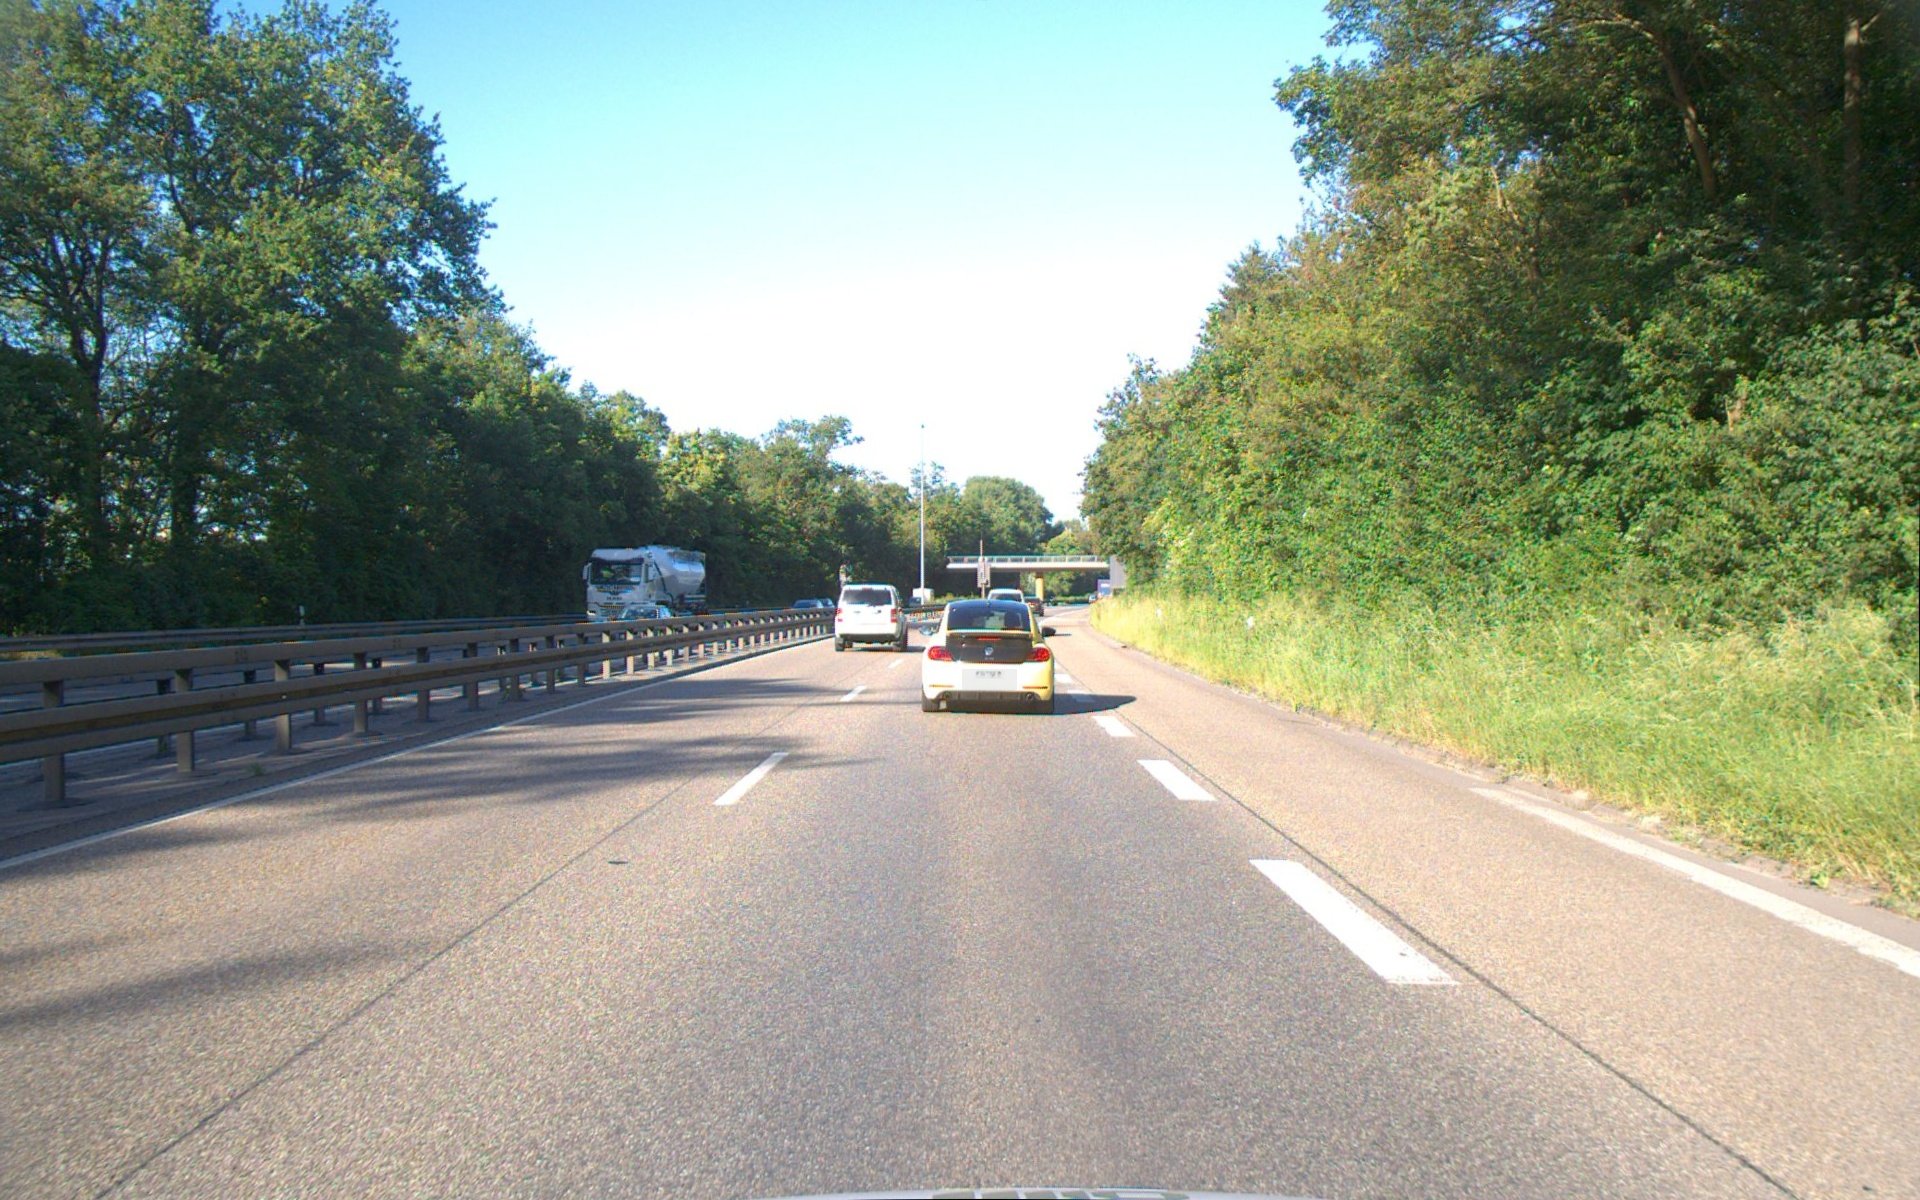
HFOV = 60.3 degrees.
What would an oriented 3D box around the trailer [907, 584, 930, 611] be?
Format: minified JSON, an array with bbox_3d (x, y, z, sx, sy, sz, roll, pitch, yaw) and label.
[{"bbox_3d":[-3.893,-0.285,156.062,1.952,2.480,4.607,-1,0,1],"label":"trailer"}]

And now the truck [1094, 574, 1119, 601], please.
[{"bbox_3d":[23.283,-1.950,262.465,3.421,4.246,8.869,-1,0,9],"label":"truck"}]

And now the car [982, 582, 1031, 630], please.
[{"bbox_3d":[1.885,0.225,65.835,1.824,1.801,4.471,-1,0,3],"label":"car"}]

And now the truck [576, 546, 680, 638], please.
[{"bbox_3d":[-14.017,-0.329,70.338,2.919,3.693,6.157,-1,0,2],"label":"truck"}]

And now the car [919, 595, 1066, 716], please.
[{"bbox_3d":[0.362,0.697,23.116,1.841,1.487,4.355,1,0,-1],"label":"car"}]

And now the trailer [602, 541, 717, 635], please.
[{"bbox_3d":[-13.838,-0.540,77.160,2.989,4.067,10.975,-1,0,2],"label":"trailer"}]

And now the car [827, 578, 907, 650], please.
[{"bbox_3d":[-2.508,0.365,45.524,2.043,1.860,3.999,-1,0,-1],"label":"car"}]

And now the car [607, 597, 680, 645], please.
[{"bbox_3d":[-10.422,0.652,54.652,1.632,1.493,4.092,-1,0,0],"label":"car"}]

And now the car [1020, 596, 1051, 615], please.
[{"bbox_3d":[5.931,0.400,129.523,1.951,1.422,4.003,0,0,9],"label":"car"}]
